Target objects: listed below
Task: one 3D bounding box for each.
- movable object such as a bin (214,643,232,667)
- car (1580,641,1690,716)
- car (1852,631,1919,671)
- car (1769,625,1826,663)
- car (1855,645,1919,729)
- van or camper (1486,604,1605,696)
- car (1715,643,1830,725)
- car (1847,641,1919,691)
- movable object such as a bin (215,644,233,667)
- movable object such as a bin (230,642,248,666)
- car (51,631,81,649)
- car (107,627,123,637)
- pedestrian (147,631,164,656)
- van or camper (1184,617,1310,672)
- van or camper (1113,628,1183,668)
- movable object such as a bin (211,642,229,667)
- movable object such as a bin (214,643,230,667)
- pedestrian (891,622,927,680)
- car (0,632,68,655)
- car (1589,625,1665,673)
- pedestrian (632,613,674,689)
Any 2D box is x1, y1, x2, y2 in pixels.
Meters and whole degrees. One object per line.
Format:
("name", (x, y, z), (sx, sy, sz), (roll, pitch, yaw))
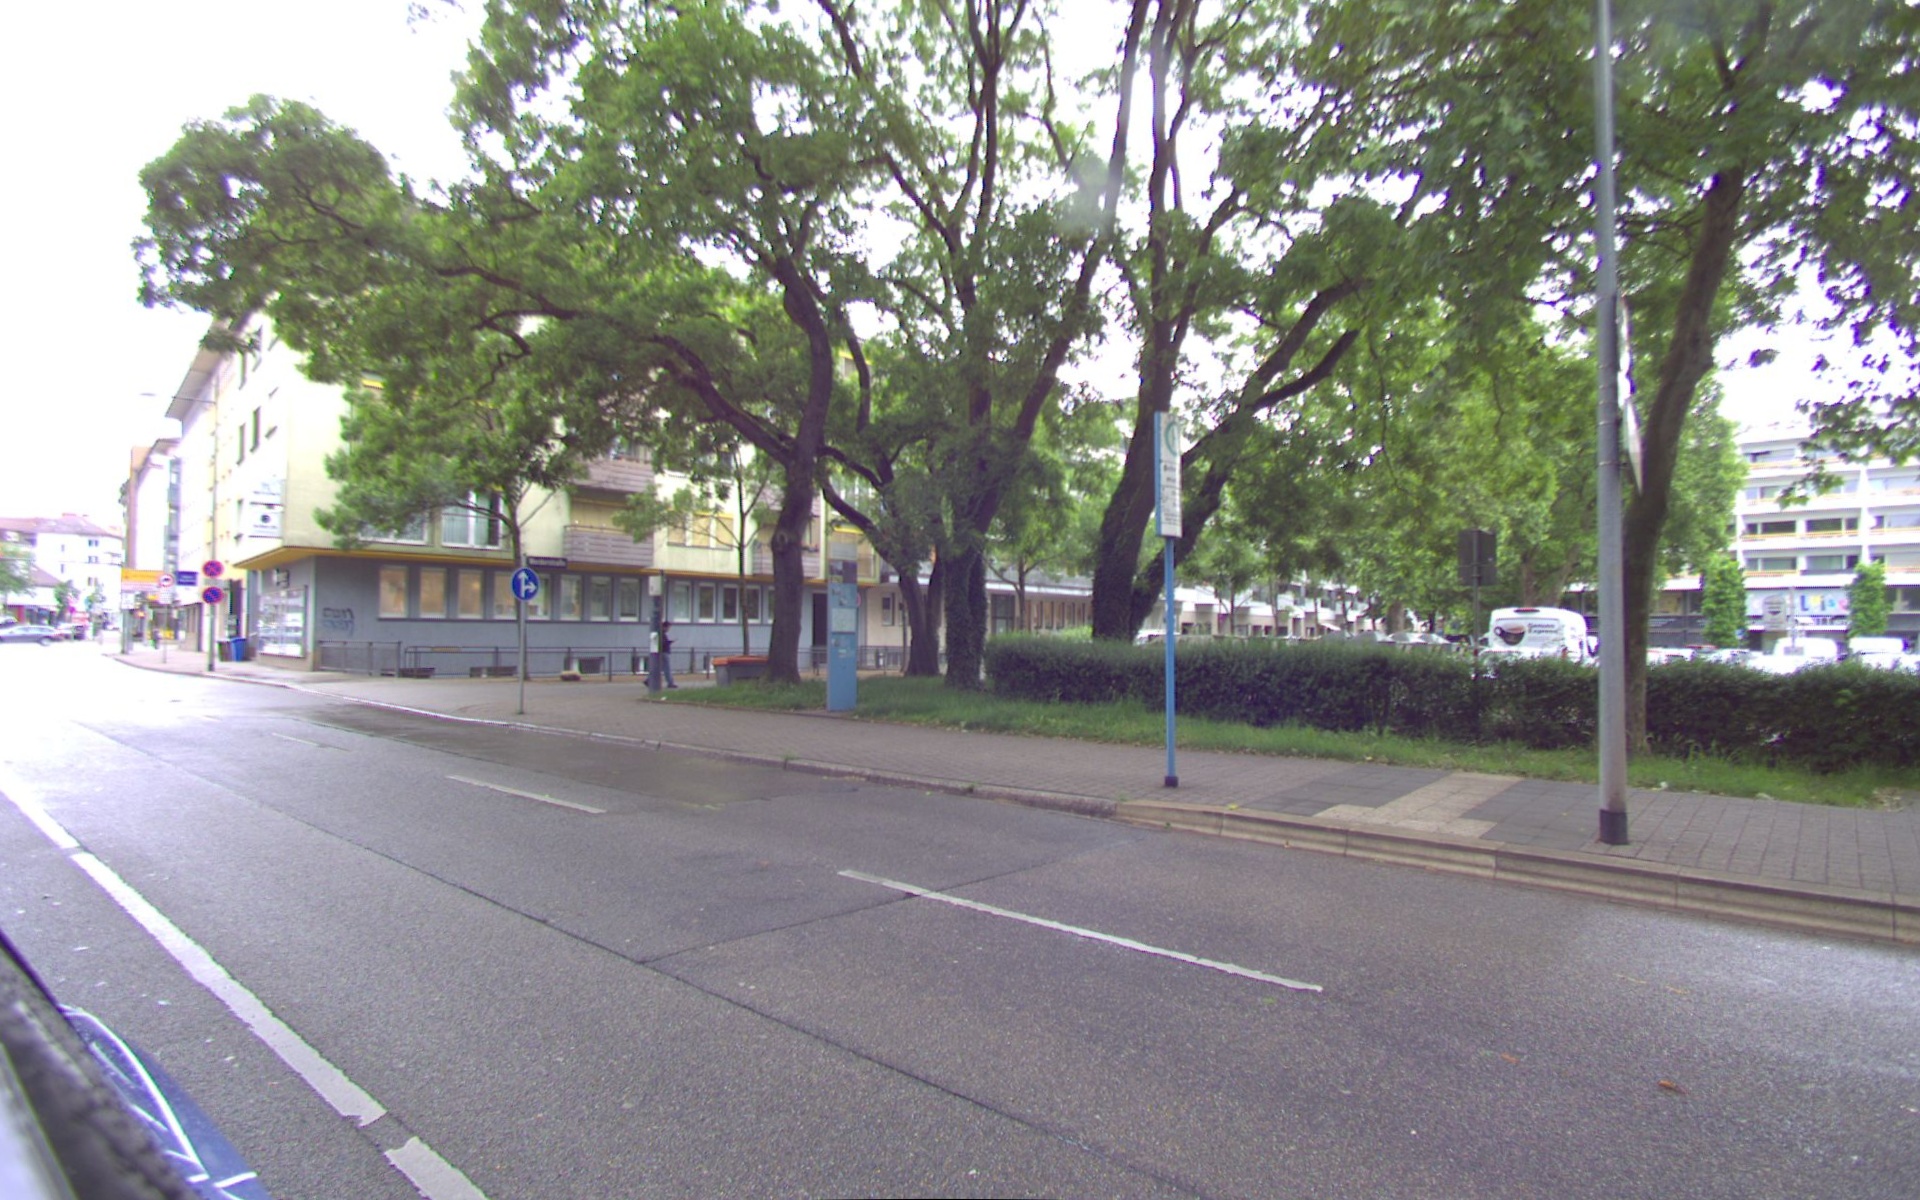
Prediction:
("movable object such as a bin", (-30.827, 2.301, 42.336), (0.521, 0.935, 0.426), (-3, 1, -42))
("car", (16.725, 1.869, 24.996), (1.895, 1.497, 3.948), (-1, 0, 39))
("car", (40.319, 2.196, 44.153), (1.895, 1.497, 3.948), (-1, 0, 39))
("car", (41.888, 2.159, 50.675), (2.097, 1.735, 3.948), (-1, 0, 39))
("car", (20.501, 1.806, 21.603), (1.895, 1.497, 3.948), (-1, 0, 39))
("van or camper", (16.933, 1.423, 29.169), (2.099, 2.450, 4.280), (-2, -3, 42))
("car", (18.604, 1.838, 23.211), (1.895, 1.497, 3.948), (-1, 0, 39))
("car", (33.351, 2.333, 36.456), (1.895, 1.497, 3.948), (-1, 0, 39))
("movable object such as a bin", (-30.457, 2.289, 41.902), (0.522, 0.902, 0.435), (-3, 1, -42))
("movable object such as a bin", (-29.794, 2.224, 41.827), (0.522, 0.968, 0.435), (-3, 1, -42))
("car", (-82.232, 3.648, 93.130), (1.807, 1.634, 4.007), (2, -3, -39))
("car", (-126.701, 4.776, 151.709), (1.567, 1.539, 3.496), (2, -3, -36))
("pedestrian", (-53.515, 2.877, 67.342), (0.773, 1.600, 0.675), (-1, -1, -29))
("van or camper", (14.168, 2.153, 49.382), (2.561, 2.420, 8.535), (-2, -3, 41))
("van or camper", (10.392, 2.636, 55.603), (1.825, 2.029, 4.576), (1, -2, 38))
("movable object such as a bin", (-31.708, 2.331, 43.362), (0.510, 1.008, 0.524), (-3, 1, -42))
("movable object such as a bin", (-31.178, 2.320, 42.737), (0.458, 0.935, 0.429), (-3, 1, -42))
("pedestrian", (-1.746, 1.740, 34.696), (0.906, 1.939, 0.820), (2, -3, -43))
("car", (-67.291, 3.135, 72.573), (4.897, 1.618, 1.563), (4, -4, -45))
("car", (24.050, 1.722, 36.436), (1.895, 1.497, 3.948), (-1, 0, 39))
("pedestrian", (-8.320, 1.383, 27.443), (0.746, 2.029, 0.778), (0, -2, 16))
